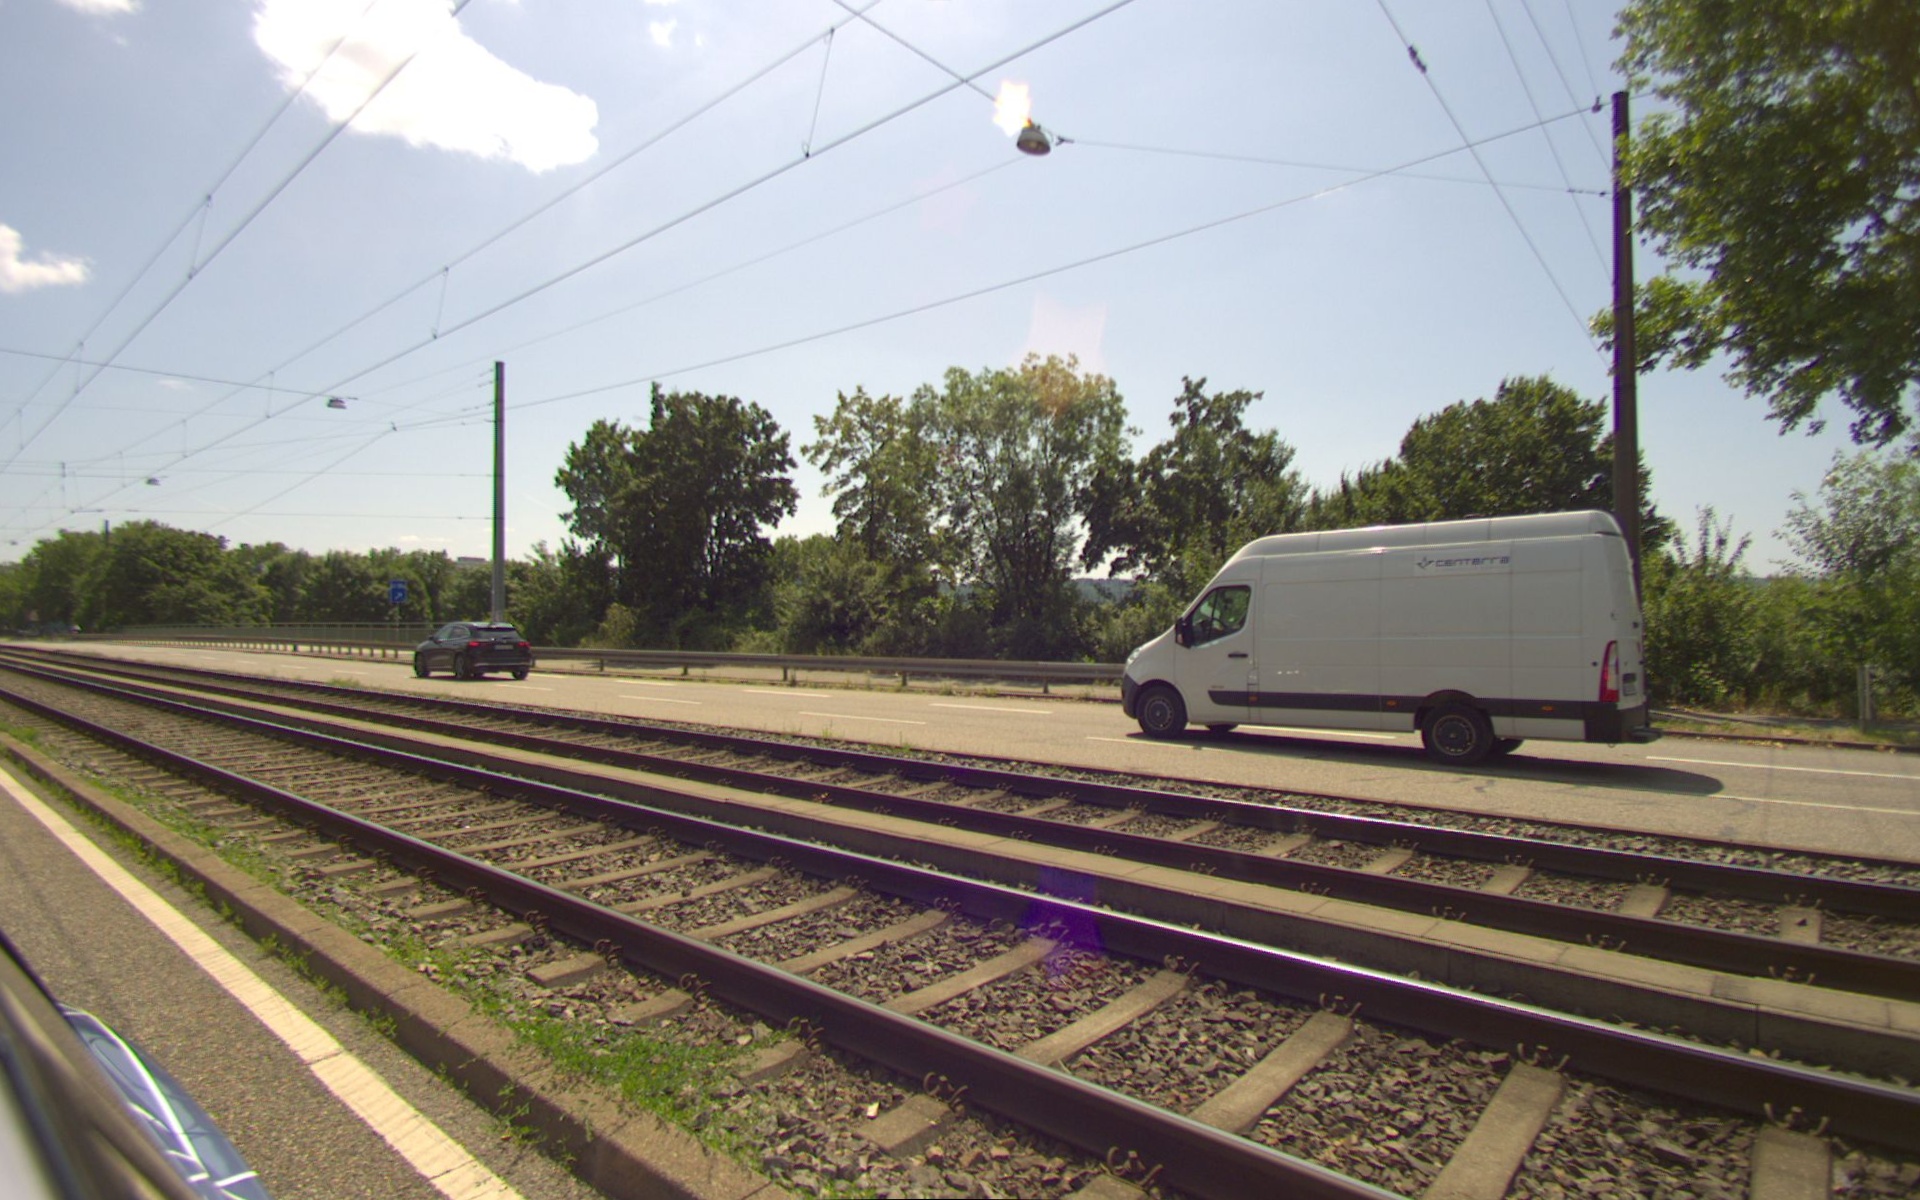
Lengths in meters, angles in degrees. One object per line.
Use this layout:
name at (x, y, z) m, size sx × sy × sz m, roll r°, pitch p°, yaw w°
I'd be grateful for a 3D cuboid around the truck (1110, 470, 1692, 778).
truck at (5.091, 0.316, 12.590) m, size 6.316 × 2.961 × 2.032 m, roll -2°, pitch -3°, yaw 41°

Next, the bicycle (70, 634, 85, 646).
bicycle at (-88.400, 3.984, 101.318) m, size 2.061 × 1.194 × 0.848 m, roll -2°, pitch -1°, yaw 41°

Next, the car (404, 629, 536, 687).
car at (-13.945, 1.599, 28.707) m, size 4.425 × 1.526 × 1.798 m, roll -2°, pitch -3°, yaw 41°

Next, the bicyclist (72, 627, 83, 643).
bicyclist at (-88.352, 3.489, 101.305) m, size 0.837 × 1.634 × 0.755 m, roll -2°, pitch -1°, yaw 41°

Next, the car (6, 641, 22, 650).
car at (-149.593, 7.140, 160.004) m, size 3.927 × 1.357 × 1.546 m, roll -2°, pitch -3°, yaw 42°

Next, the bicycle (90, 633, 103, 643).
bicycle at (-79.587, 3.521, 93.280) m, size 2.034 × 0.849 × 0.517 m, roll -2°, pitch -1°, yaw 40°
